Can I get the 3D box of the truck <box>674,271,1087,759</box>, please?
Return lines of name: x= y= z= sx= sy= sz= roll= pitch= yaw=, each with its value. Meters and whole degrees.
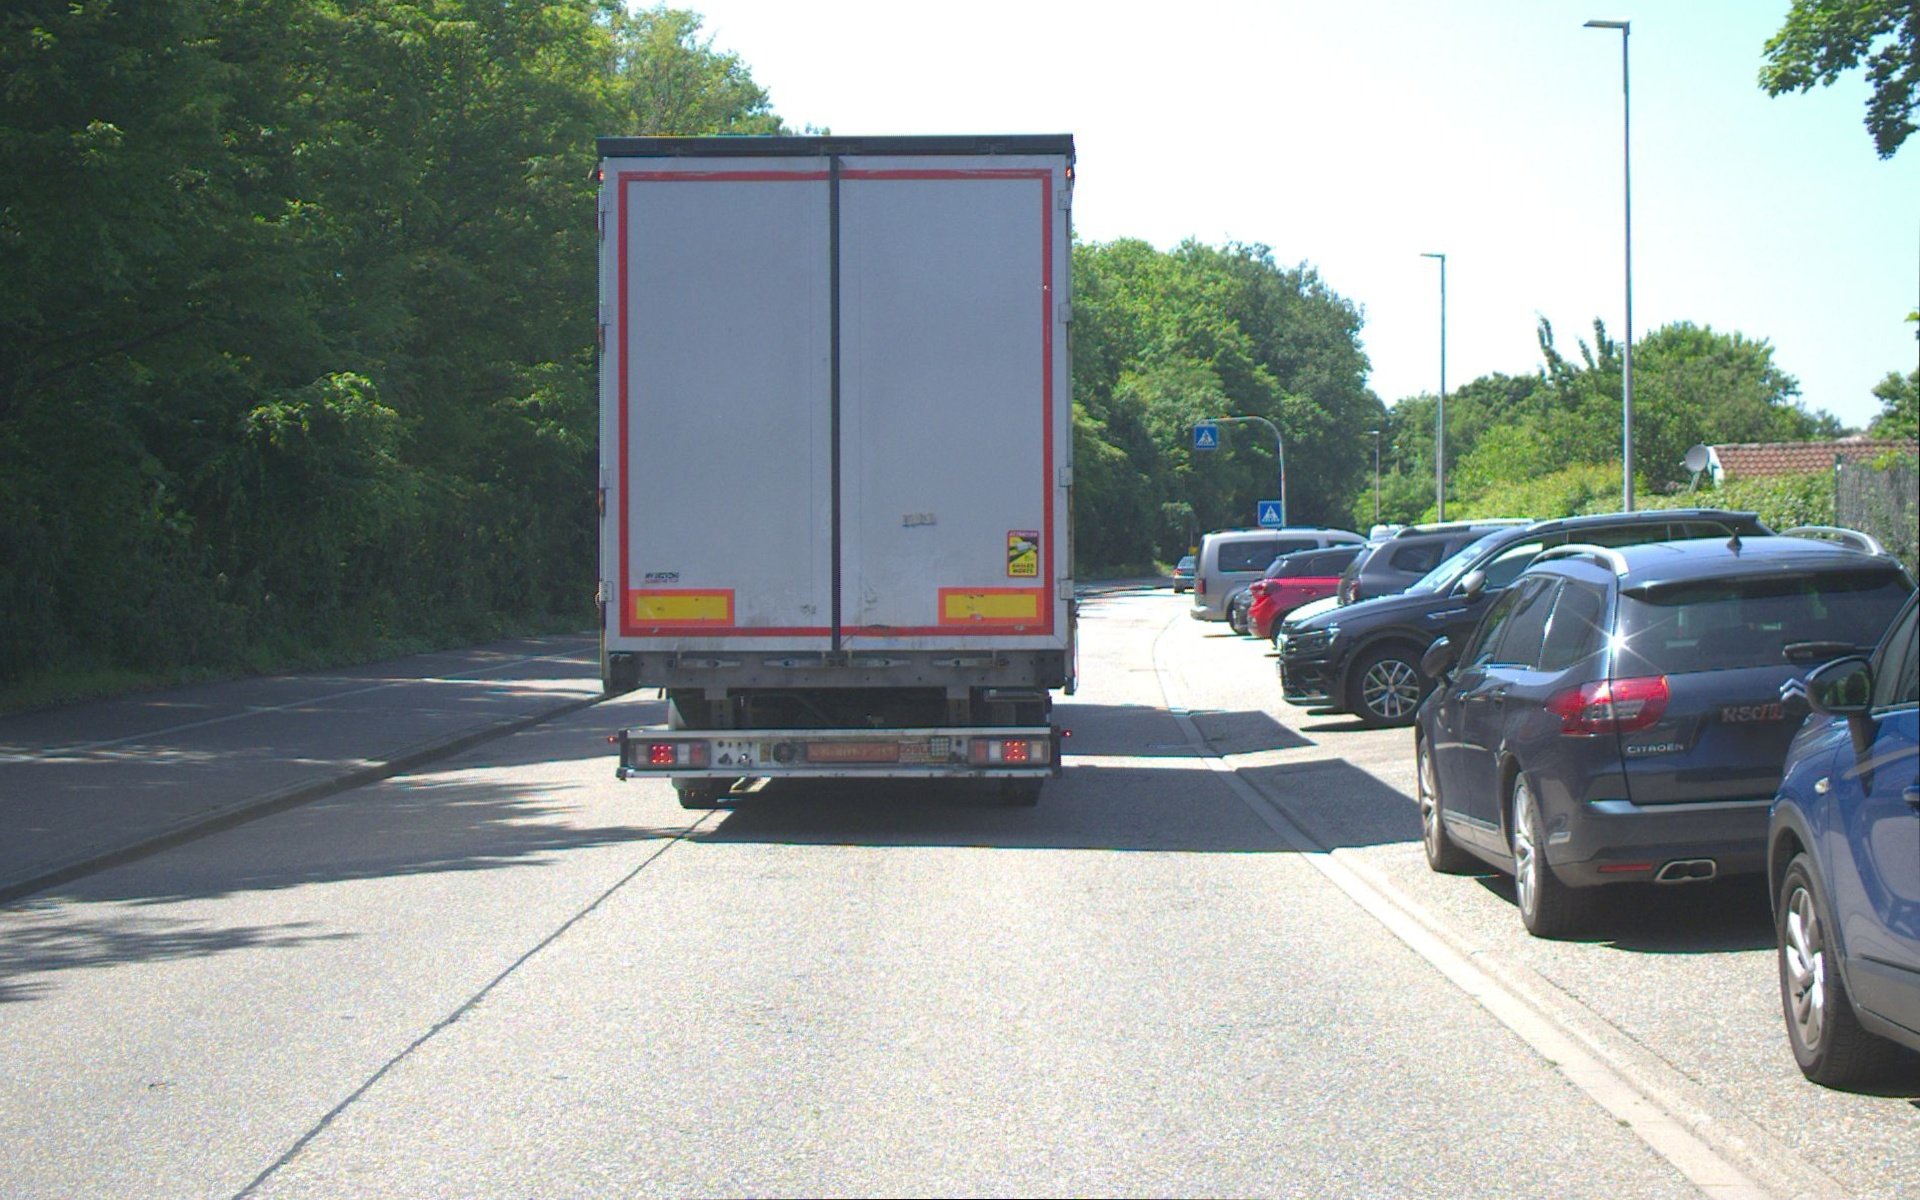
truck: x=-0.566 y=-0.722 z=29.932 sx=3.114 sy=3.712 sz=6.414 roll=-2 pitch=1 yaw=1

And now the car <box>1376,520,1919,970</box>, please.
car: x=2.961 y=0.467 z=14.537 sx=1.789 sy=1.477 sz=4.665 roll=-4 pitch=1 yaw=1

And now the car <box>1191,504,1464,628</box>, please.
car: x=6.469 y=-0.608 z=60.870 sx=4.621 sy=1.842 sz=1.995 roll=-4 pitch=1 yaw=5

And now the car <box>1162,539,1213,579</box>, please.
car: x=8.552 y=-1.546 z=128.984 sx=1.781 sy=1.481 sz=3.999 roll=0 pitch=1 yaw=5

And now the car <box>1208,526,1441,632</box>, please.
car: x=6.092 y=-0.370 z=57.693 sx=3.575 sy=1.497 sz=1.842 roll=-4 pitch=1 yaw=-1

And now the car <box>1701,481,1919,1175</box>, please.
car: x=3.090 y=0.500 z=8.060 sx=1.789 sy=1.598 sz=4.130 roll=-2 pitch=2 yaw=0

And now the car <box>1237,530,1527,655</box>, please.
car: x=5.979 y=-0.122 z=49.115 sx=3.920 sy=1.473 sz=1.845 roll=-4 pitch=1 yaw=4

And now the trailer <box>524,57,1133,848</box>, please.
trailer: x=-0.639 y=-0.860 z=23.838 sx=3.113 sy=4.088 sz=11.537 roll=-1 pitch=1 yaw=1

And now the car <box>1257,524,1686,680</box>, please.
car: x=5.844 y=0.002 z=39.682 sx=4.558 sy=1.434 sz=1.961 roll=-4 pitch=1 yaw=0

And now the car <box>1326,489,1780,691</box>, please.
car: x=5.932 y=-0.112 z=34.781 sx=4.258 sy=1.692 sz=1.853 roll=-4 pitch=1 yaw=4

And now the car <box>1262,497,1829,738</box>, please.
car: x=4.965 y=0.127 z=29.638 sx=4.470 sy=1.698 sz=1.914 roll=-4 pitch=1 yaw=1
